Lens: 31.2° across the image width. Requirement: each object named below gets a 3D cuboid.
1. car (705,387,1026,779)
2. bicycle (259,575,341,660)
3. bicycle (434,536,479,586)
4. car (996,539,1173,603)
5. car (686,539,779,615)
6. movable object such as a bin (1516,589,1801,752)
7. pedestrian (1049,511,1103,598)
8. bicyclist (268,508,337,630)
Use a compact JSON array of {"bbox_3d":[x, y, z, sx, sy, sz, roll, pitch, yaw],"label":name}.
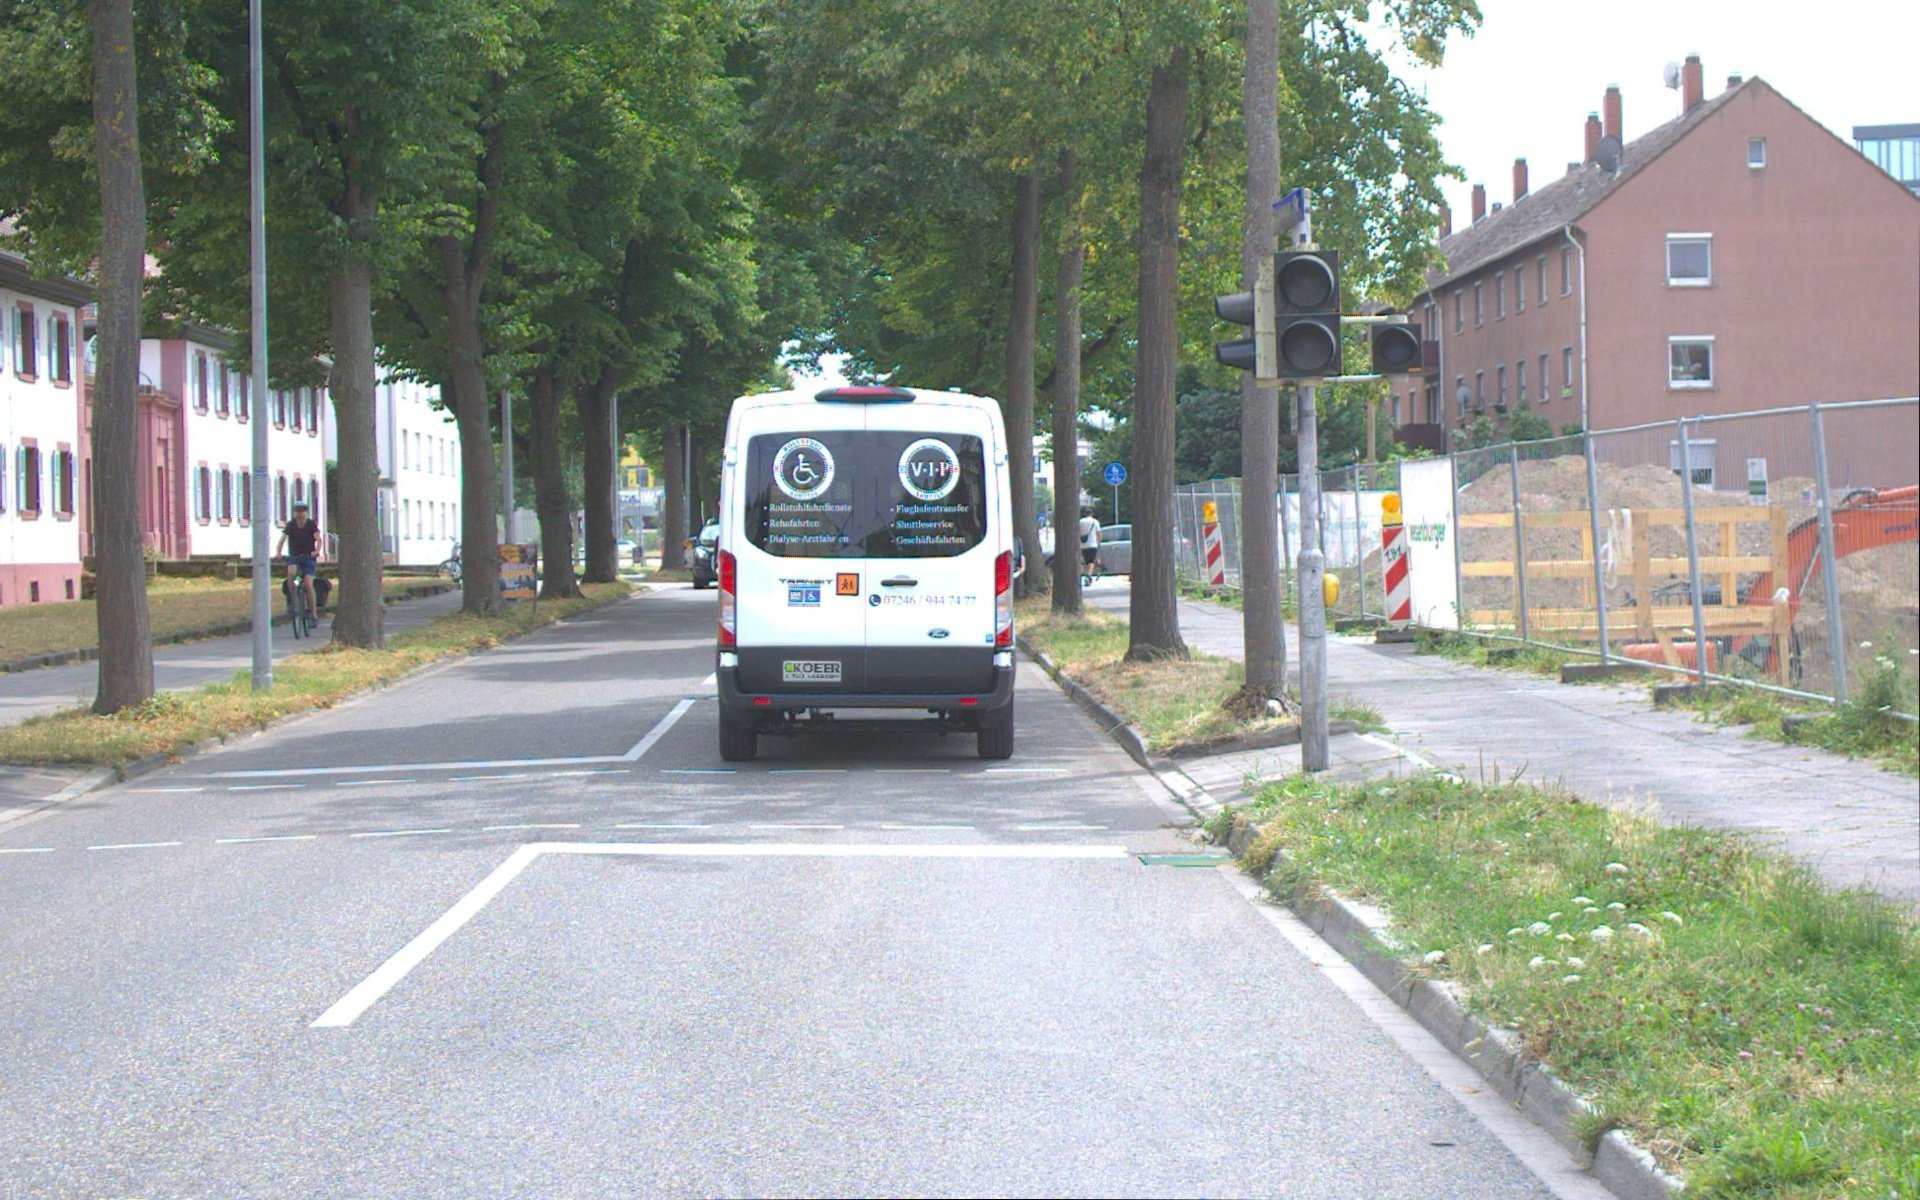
[{"bbox_3d":[-0.755,-0.120,24.268,2.062,2.531,4.001,0,0,-4],"label":"car"},{"bbox_3d":[-9.178,0.226,47.855,0.722,1.091,2.151,3,1,-2],"label":"bicycle"},{"bbox_3d":[-11.560,-0.915,79.016,0.722,1.091,2.225,3,1,-2],"label":"bicycle"},{"bbox_3d":[3.104,-0.723,86.755,4.371,1.438,2.011,-1,-1,0],"label":"car"},{"bbox_3d":[-5.303,-0.559,80.677,1.772,1.653,4.257,-3,1,1],"label":"car"},{"bbox_3d":[12.319,1.215,60.506,4.685,2.581,3.131,-2,1,13],"label":"movable object such as a bin"},{"bbox_3d":[2.484,-0.973,73.530,0.883,1.808,0.888,-2,1,18],"label":"pedestrian"},{"bbox_3d":[-9.150,-0.435,47.872,0.722,1.650,0.958,3,1,-2],"label":"bicyclist"}]
